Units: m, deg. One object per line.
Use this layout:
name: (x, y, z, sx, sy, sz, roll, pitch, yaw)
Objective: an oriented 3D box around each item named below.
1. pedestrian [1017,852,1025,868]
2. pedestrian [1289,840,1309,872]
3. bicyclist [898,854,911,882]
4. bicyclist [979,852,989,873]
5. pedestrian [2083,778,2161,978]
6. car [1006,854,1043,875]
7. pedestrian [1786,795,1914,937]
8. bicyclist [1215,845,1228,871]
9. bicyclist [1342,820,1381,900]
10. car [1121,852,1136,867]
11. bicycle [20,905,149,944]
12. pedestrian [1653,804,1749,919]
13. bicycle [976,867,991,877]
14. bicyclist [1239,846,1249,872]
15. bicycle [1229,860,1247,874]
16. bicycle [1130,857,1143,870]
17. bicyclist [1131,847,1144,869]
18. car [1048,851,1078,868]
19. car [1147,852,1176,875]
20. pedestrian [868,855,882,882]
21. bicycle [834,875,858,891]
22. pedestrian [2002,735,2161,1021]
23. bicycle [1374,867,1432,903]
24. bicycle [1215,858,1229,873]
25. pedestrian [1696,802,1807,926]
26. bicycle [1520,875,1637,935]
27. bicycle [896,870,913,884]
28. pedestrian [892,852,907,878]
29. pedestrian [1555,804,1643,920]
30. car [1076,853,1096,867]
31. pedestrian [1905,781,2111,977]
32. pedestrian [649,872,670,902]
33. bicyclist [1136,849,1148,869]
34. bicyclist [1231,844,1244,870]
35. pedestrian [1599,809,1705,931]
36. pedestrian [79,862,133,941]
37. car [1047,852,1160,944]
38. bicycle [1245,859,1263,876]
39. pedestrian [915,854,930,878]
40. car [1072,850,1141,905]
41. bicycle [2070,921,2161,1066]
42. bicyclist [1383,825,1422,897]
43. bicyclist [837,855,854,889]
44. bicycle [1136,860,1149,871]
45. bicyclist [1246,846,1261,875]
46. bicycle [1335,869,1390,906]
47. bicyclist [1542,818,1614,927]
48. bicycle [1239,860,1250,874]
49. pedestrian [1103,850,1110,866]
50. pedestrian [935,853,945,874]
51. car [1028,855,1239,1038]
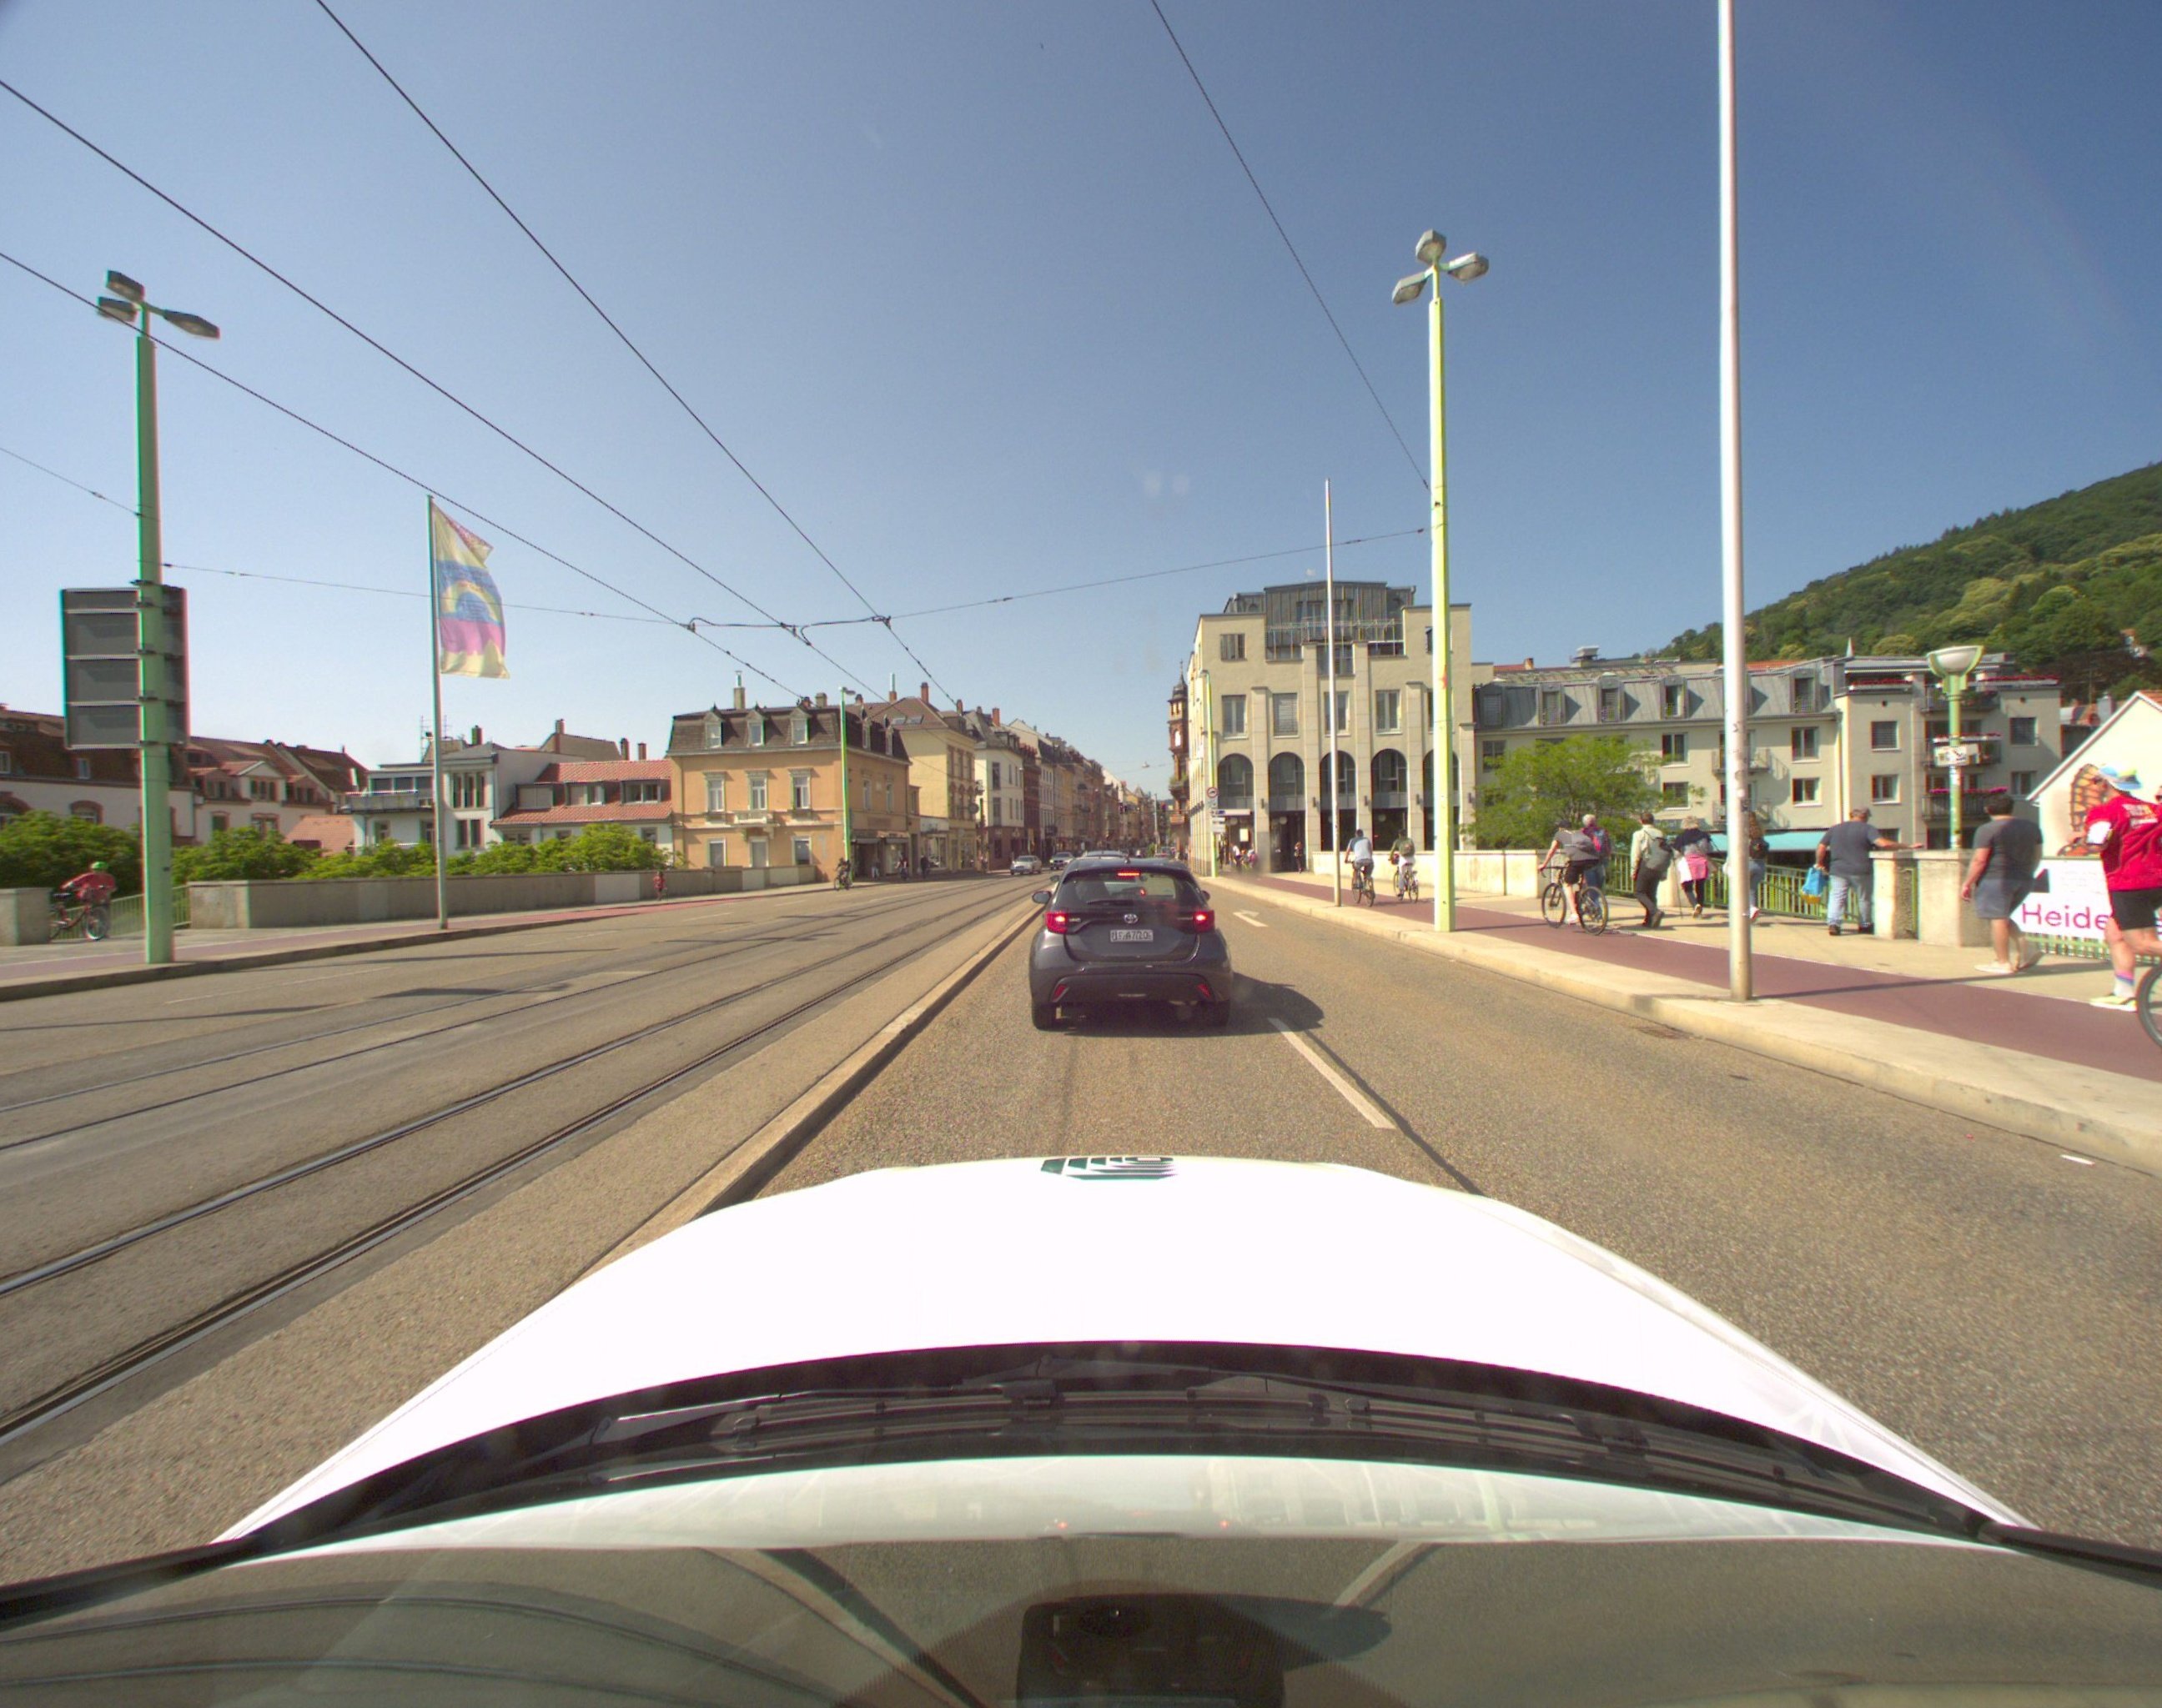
pedestrian: (-6.475, 0.647, 87.712, 0.733, 1.766, 0.787, 3, 0, 2)
pedestrian: (11.486, 0.118, 42.934, 0.736, 1.615, 1.016, 3, 0, 1)
bicyclist: (-10.661, 0.815, 49.079, 0.625, 1.650, 0.622, 0, 1, 2)
bicyclist: (-7.887, 0.709, 66.031, 0.623, 1.650, 0.623, 0, 1, 10)
pedestrian: (9.640, 0.196, 7.005, 0.736, 1.718, 1.016, -2, 0, 1)
car: (-4.269, 0.787, 62.470, 1.720, 1.460, 4.387, -2, 0, 11)
pedestrian: (10.319, 0.144, 10.934, 1.212, 1.777, 0.970, -3, 0, -35)
bicyclist: (9.279, 0.277, 53.893, 0.699, 1.695, 0.925, -2, 0, 2)
bicyclist: (6.559, 0.130, 19.061, 0.585, 1.820, 0.702, -2, 0, -1)
car: (6.726, 0.825, 115.612, 1.983, 2.014, 4.006, 0, -1, 6)
bicycle: (-20.301, 1.420, 16.604, 1.919, 0.716, 0.623, 0, 1, 2)
pedestrian: (10.159, 0.113, 13.381, 0.736, 1.777, 1.016, -3, 0, 1)
bicycle: (-7.897, 1.445, 66.022, 0.616, 0.716, 2.051, 0, 1, 11)
bicyclist: (8.933, 0.289, 44.585, 0.420, 1.383, 0.443, -3, 0, 1)
bicycle: (9.039, 0.778, 46.941, 0.420, 0.765, 0.951, -3, 0, -37)
bicycle: (6.578, 1.116, 96.251, 1.105, 1.420, 3.017, 2, 0, 12)
bicyclist: (6.650, 0.526, 96.196, 1.219, 2.529, 1.109, 3, 0, 14)
car: (-1.667, 0.515, 77.931, 1.981, 1.586, 4.665, -2, 0, 10)
car: (5.518, 0.627, 56.107, 1.699, 1.466, 4.327, 0, 0, 1)
pedestrian: (-12.907, 0.906, 51.118, 0.646, 1.602, 0.566, 3, 0, 2)
bicycle: (-11.800, 1.430, 40.901, 0.618, 0.716, 1.772, 0, 1, 2)
pedestrian: (7.675, 0.147, 5.830, 0.808, 1.924, 1.128, -2, 0, 1)
bicycle: (7.635, 0.718, 19.410, 0.592, 0.765, 1.866, -3, 0, -1)
bicycle: (9.299, 0.756, 53.853, 0.701, 0.882, 1.526, -2, 0, 2)
pedestrian: (10.011, 0.137, 12.199, 0.737, 1.746, 1.015, -3, 0, 0)
bicycle: (7.445, 0.735, 12.289, 0.592, 0.765, 1.830, -3, 0, -1)
bicycle: (-10.660, 1.386, 49.156, 0.618, 0.716, 1.732, 0, 1, 2)
pedestrian: (-12.322, 0.735, 55.252, 0.733, 1.766, 0.787, 3, 0, 2)
pedestrian: (8.566, 0.127, 13.500, 0.736, 1.802, 1.016, -3, 0, 1)
car: (0.601, 0.681, 93.278, 1.784, 1.545, 3.930, -2, 0, 8)
pedestrian: (8.796, 0.223, 7.783, 0.736, 1.718, 1.016, -3, 0, 1)
pedestrian: (-16.244, 1.268, 31.402, 0.409, 1.146, 0.546, 3, 0, 10)
bicyclist: (7.895, 0.675, 104.738, 1.219, 2.529, 1.109, 3, 0, 13)
bicyclist: (9.012, 0.167, 46.942, 0.487, 1.466, 0.438, -3, 0, -38)
pedestrian: (8.527, 0.229, 12.211, 0.752, 1.718, 1.073, -3, 0, 1)
pedestrian: (-20.531, 0.983, 17.152, 0.623, 1.632, 0.413, 1, 0, 2)
car: (0.422, 0.730, 15.612, 1.890, 1.530, 4.001, 0, 0, 1)
bicycle: (8.516, 0.661, 40.137, 0.512, 0.765, 1.661, -3, 0, 2)
pedestrian: (-11.042, 0.837, 56.826, 0.758, 1.654, 0.713, 3, 0, 7)
car: (0.760, 0.644, 24.492, 1.890, 1.530, 4.001, 0, 0, 1)
bicycle: (6.373, 0.806, 4.078, 0.591, 0.765, 1.867, -3, 0, 2)
bicyclist: (7.621, 0.167, 19.322, 0.585, 1.650, 0.702, -2, 0, -1)
bicyclist: (-11.809, 0.901, 40.869, 0.625, 1.650, 0.622, 0, 1, 2)
bicycle: (7.906, 1.455, 104.577, 1.104, 1.420, 3.018, 3, 0, 14)
bicyclist: (8.493, 0.310, 40.162, 0.532, 1.383, 0.669, -3, 0, 1)
bicycle: (6.581, 0.770, 19.100, 0.592, 0.765, 1.866, -3, 0, -1)
bicyclist: (7.423, 0.267, 12.192, 0.585, 1.559, 0.702, -2, 0, -1)
bicycle: (8.951, 0.702, 44.589, 0.415, 0.765, 0.962, -3, 0, 2)
pedestrian: (4.169, 0.610, 131.332, 1.047, 2.588, 1.502, 3, 0, 2)
pedestrian: (-11.483, 0.762, 66.194, 0.646, 1.602, 0.566, 3, 2, 2)
car: (0.467, 0.755, 8.454, 1.713, 1.473, 3.659, 0, 0, 1)
